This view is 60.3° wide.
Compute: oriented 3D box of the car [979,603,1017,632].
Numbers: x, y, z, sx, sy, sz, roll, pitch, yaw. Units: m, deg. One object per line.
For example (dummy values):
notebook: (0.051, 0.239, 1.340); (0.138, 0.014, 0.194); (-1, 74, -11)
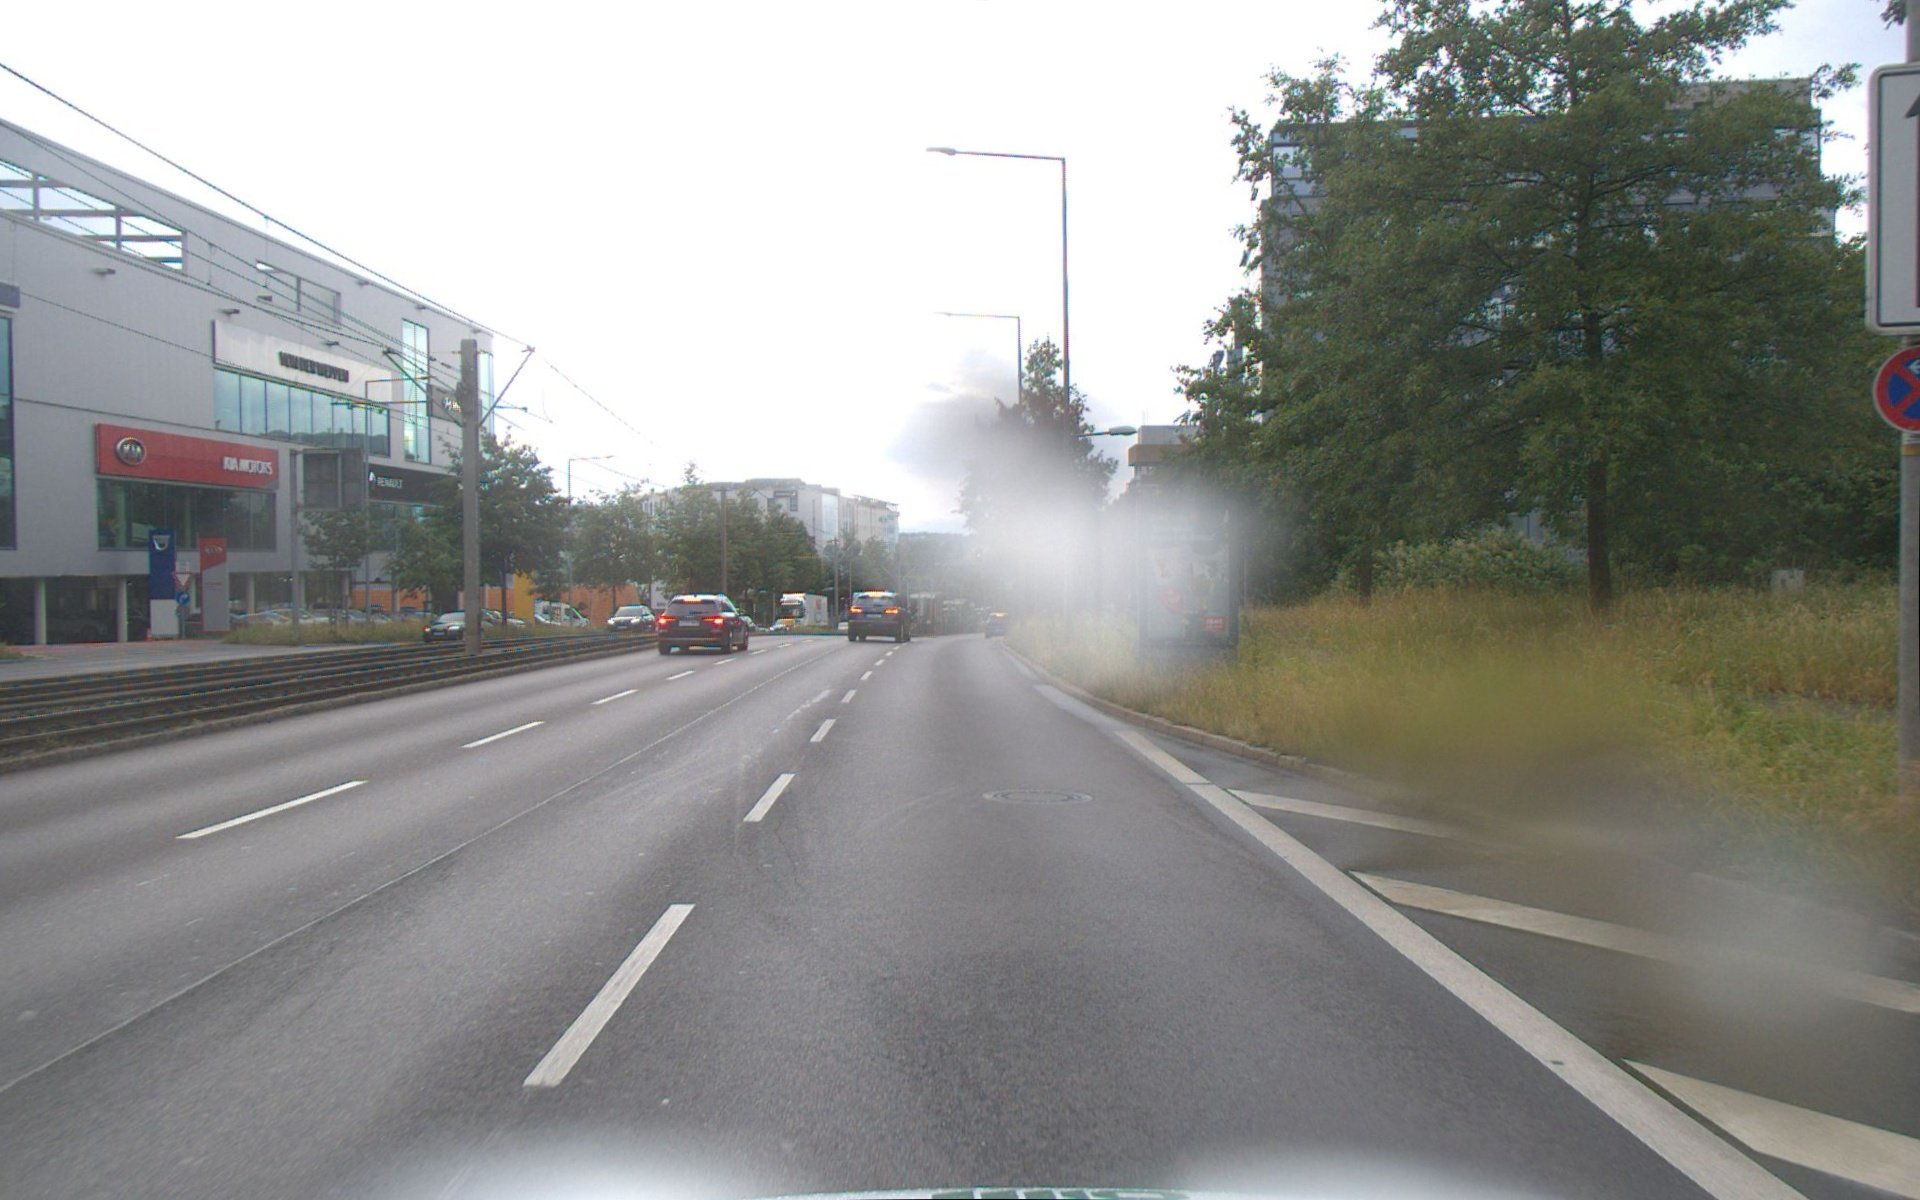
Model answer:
car: (2.195, 1.013, 96.465); (1.754, 1.619, 3.996); (-1, 0, -4)

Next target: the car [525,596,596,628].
car: (-31.443, 0.968, 130.107); (5.221, 2.353, 2.009); (2, -2, -19)

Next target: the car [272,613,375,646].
car: (-33.472, 1.554, 87.119); (4.923, 1.683, 2.010); (0, -1, -17)

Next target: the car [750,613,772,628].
car: (-21.447, 2.252, 178.243); (1.633, 1.487, 4.239); (1, -2, 2)

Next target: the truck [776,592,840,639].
truck: (-14.662, 1.494, 161.672); (2.977, 4.254, 17.212); (1, 0, 6)

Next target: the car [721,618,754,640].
car: (-15.685, 2.077, 116.659); (1.633, 1.487, 4.239); (1, -2, 2)

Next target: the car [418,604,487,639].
car: (-22.796, 1.000, 74.408); (1.633, 1.487, 4.239); (1, -2, 2)

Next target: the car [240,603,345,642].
car: (-32.433, 1.082, 80.494); (4.549, 1.859, 2.010); (0, -1, -17)

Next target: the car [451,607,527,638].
car: (-31.629, 1.511, 111.172); (4.510, 2.011, 2.019); (0, -1, -3)

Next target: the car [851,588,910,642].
car: (-2.744, 0.480, 56.460); (1.885, 1.740, 4.094); (1, 0, -4)

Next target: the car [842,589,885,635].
car: (-5.168, 0.619, 88.126); (2.223, 2.325, 4.755); (1, 0, -4)

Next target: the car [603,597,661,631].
car: (-16.909, 0.763, 85.399); (1.767, 1.645, 4.388); (1, -2, 5)

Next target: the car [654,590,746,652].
car: (-6.449, 0.494, 41.499); (1.750, 1.438, 4.803); (1, 0, -3)
